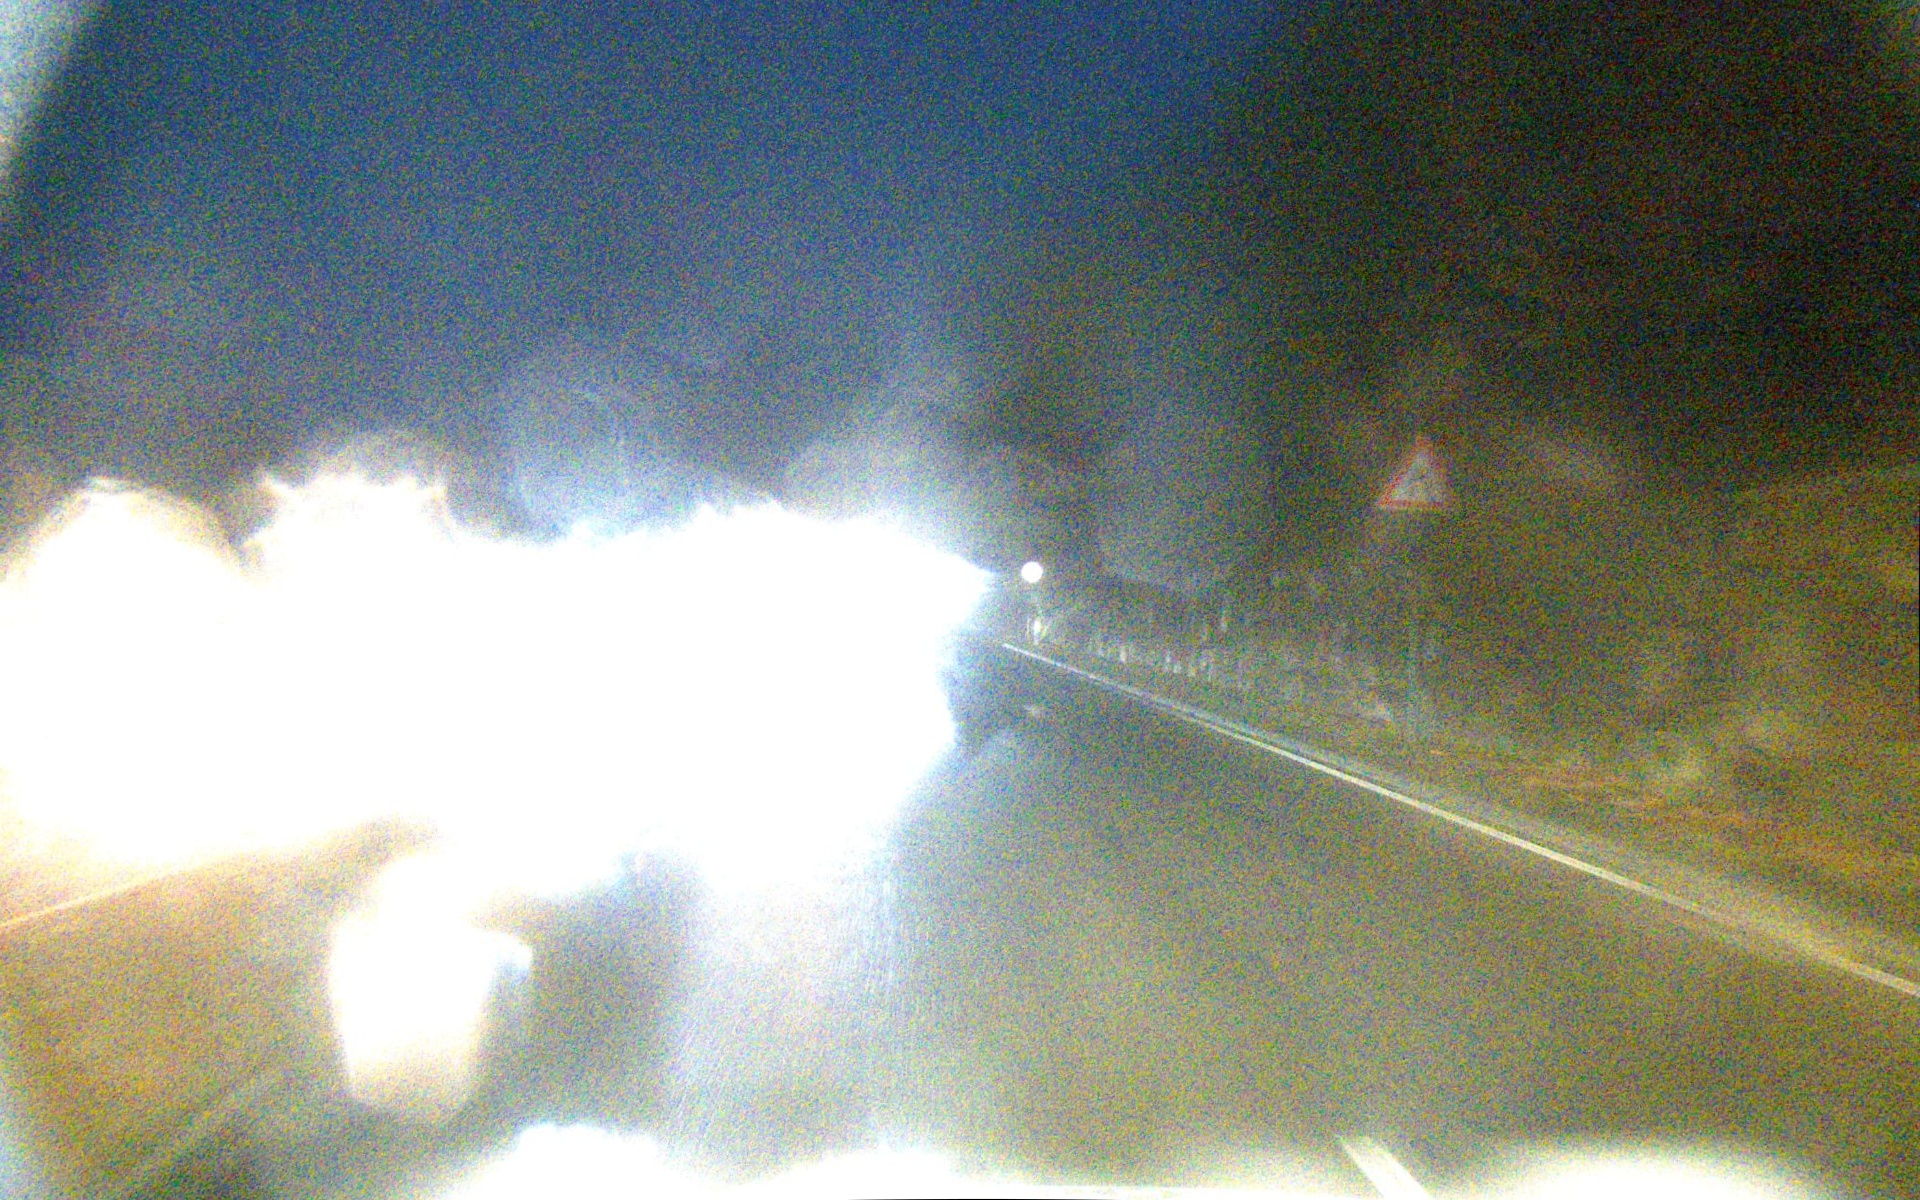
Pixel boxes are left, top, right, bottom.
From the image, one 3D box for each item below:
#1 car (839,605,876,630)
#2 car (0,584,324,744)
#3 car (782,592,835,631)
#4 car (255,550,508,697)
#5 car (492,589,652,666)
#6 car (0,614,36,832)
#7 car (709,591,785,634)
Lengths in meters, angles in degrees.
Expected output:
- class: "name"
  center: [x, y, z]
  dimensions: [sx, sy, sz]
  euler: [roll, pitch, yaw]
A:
- class: "car"
  center: [-6.786, 1.153, 109.938]
  dimensions: [2.067, 1.603, 4.680]
  euler: [1, 0, 1]
- class: "car"
  center: [-8.768, 0.633, 18.273]
  dimensions: [1.925, 1.556, 3.689]
  euler: [1, 0, 2]
- class: "car"
  center: [-7.552, 0.540, 83.028]
  dimensions: [1.952, 1.897, 5.321]
  euler: [1, 0, 2]
- class: "car"
  center: [-8.936, 0.333, 26.089]
  dimensions: [2.109, 2.049, 4.996]
  euler: [1, 0, 1]
- class: "car"
  center: [-8.552, 0.565, 36.998]
  dimensions: [2.136, 1.586, 5.205]
  euler: [1, 0, 2]
- class: "car"
  center: [-8.880, 0.992, 11.744]
  dimensions: [1.952, 1.777, 4.500]
  euler: [1, 0, 2]
- class: "car"
  center: [-8.134, 0.469, 63.577]
  dimensions: [2.040, 1.569, 4.900]
  euler: [1, 0, 2]
